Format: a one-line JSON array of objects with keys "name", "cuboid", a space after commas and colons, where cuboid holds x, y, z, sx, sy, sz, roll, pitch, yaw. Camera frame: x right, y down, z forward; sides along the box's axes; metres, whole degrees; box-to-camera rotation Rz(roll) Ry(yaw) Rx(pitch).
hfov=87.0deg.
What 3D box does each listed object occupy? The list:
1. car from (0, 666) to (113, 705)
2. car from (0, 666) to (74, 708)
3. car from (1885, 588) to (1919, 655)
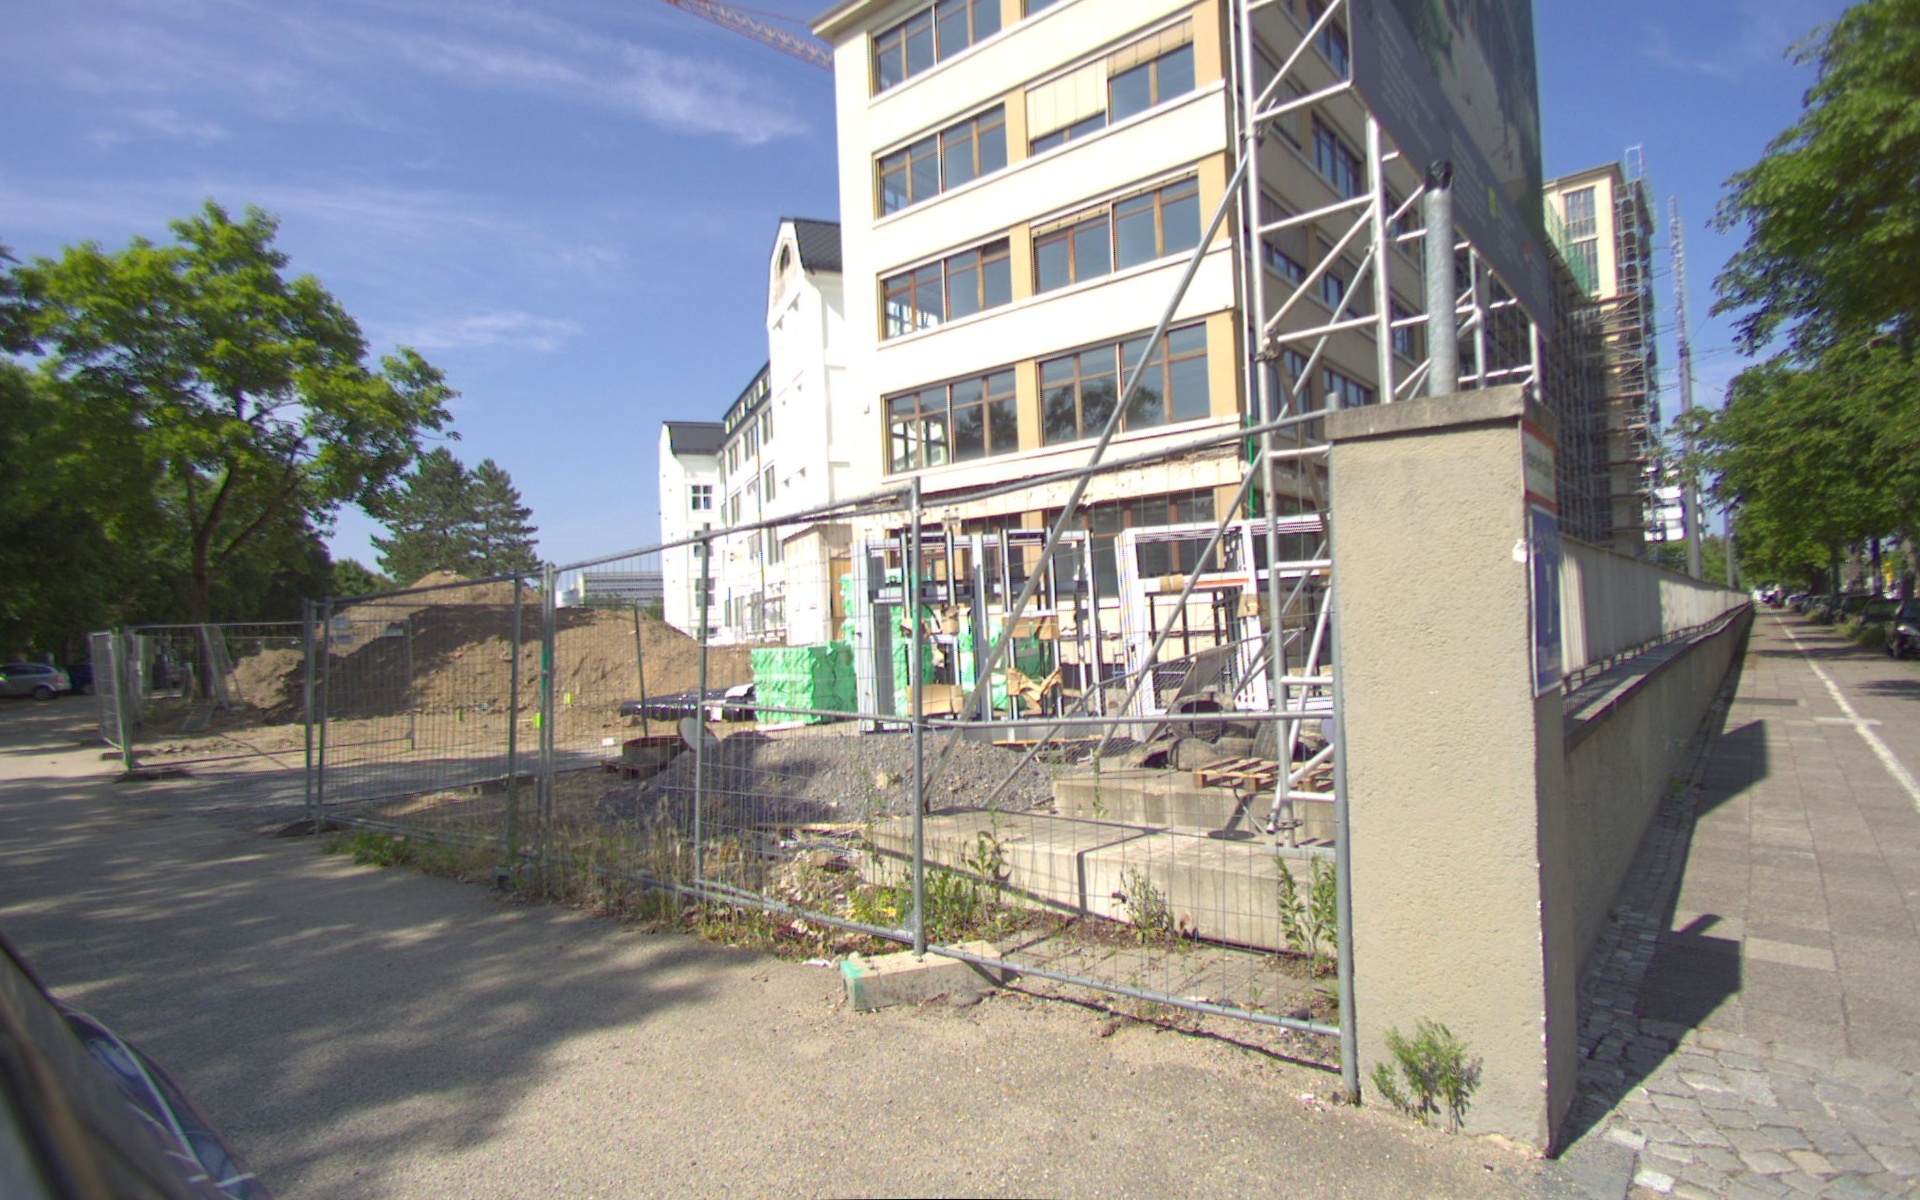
[{"name": "car", "cuboid": [-40.667, 3.803, 45.287, 3.932, 1.453, 2.006, -1, -2, -31]}, {"name": "car", "cuboid": [-38.245, 3.524, 40.465, 3.932, 1.519, 2.006, -1, -2, -31]}, {"name": "car", "cuboid": [22.669, 0.429, 23.179, 1.819, 1.464, 3.949, -4, -2, 38]}]
